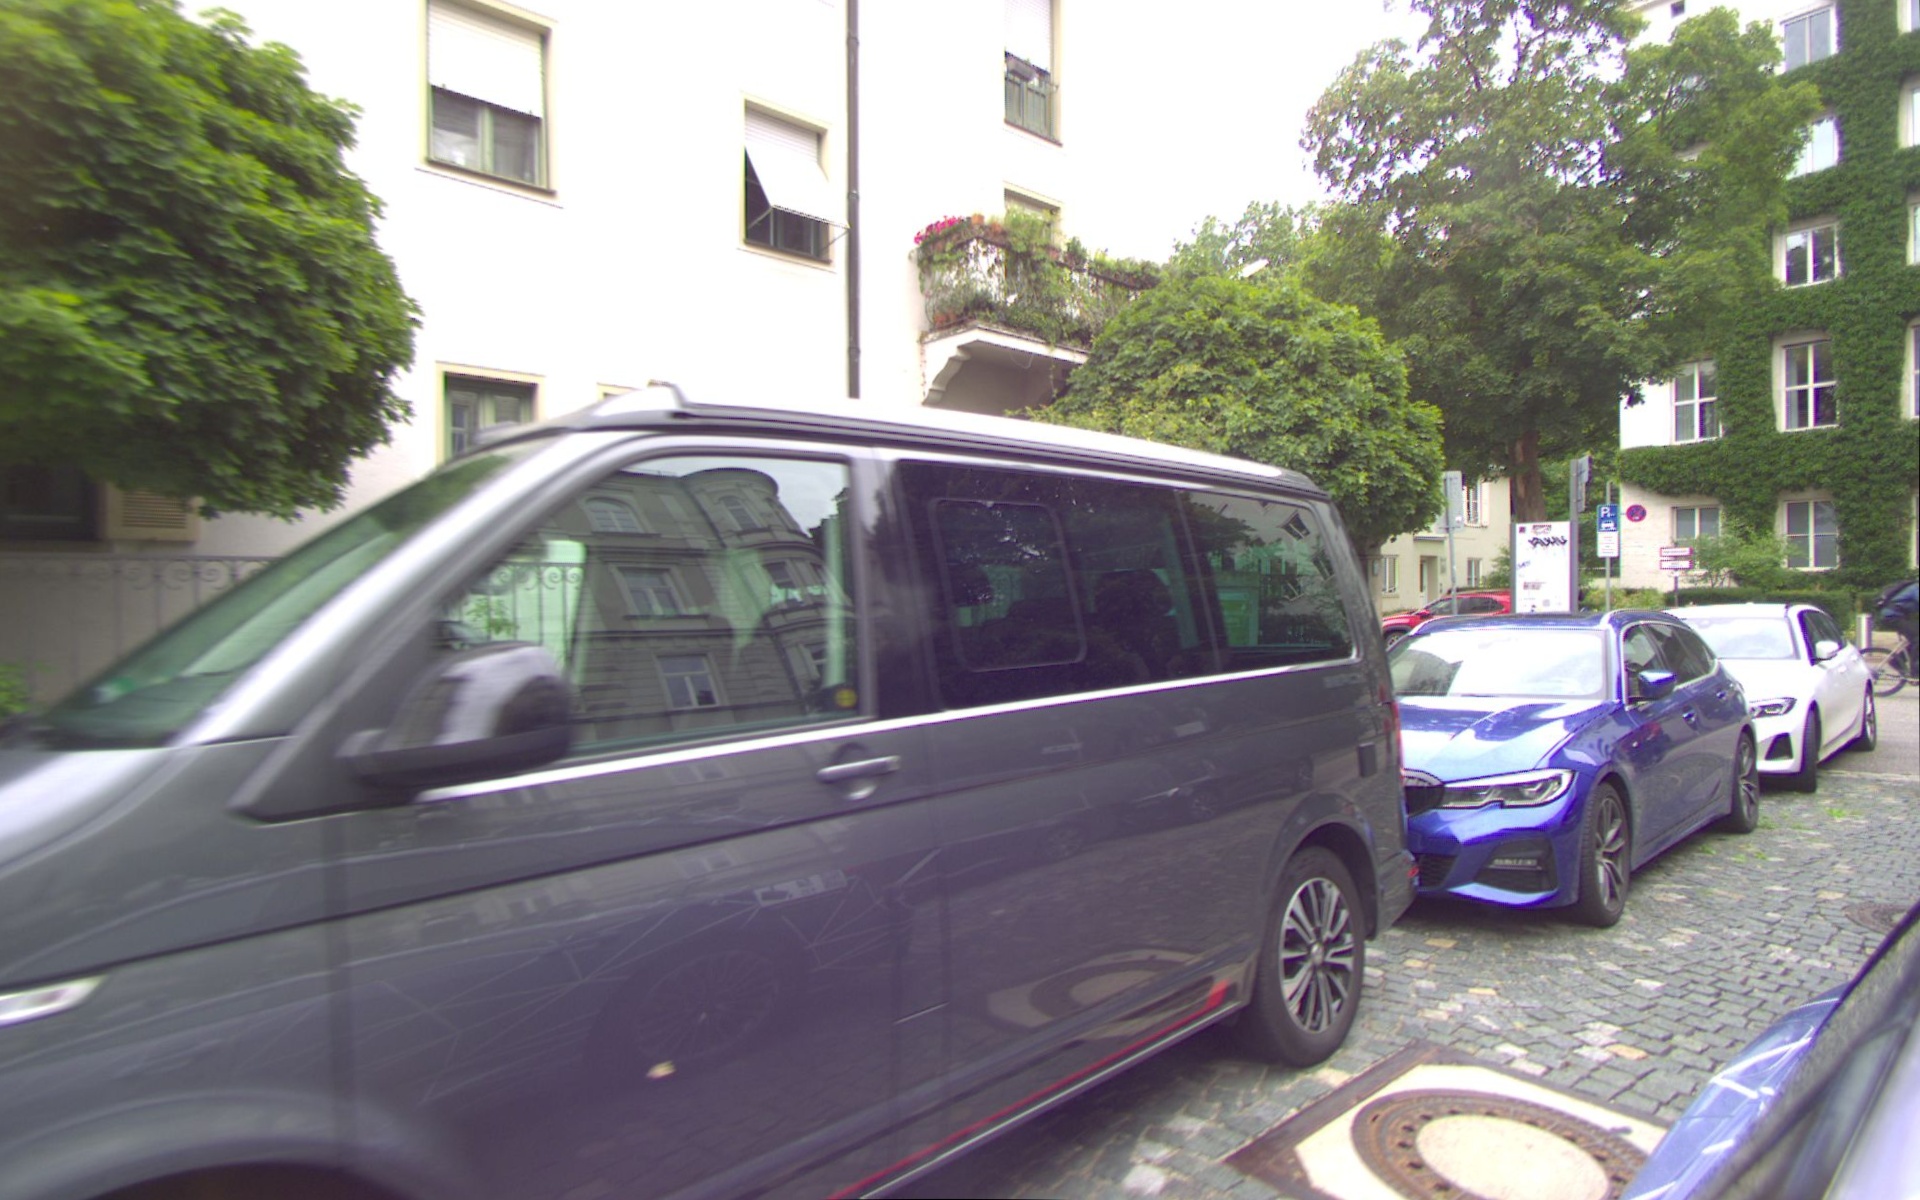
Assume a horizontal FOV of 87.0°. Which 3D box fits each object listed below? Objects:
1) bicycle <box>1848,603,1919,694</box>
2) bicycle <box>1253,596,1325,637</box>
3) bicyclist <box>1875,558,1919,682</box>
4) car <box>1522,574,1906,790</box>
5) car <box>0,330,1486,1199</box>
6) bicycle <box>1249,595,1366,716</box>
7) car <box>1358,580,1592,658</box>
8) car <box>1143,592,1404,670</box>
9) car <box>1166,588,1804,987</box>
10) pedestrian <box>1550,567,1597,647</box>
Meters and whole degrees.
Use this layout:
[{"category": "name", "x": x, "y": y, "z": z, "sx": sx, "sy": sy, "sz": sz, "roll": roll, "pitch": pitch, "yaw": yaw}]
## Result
[{"category": "bicycle", "x": 13.481, "y": 0.657, "z": 13.931, "sx": 0.708, "sy": 1.221, "sz": 1.798, "roll": -2, "pitch": 1, "yaw": -41}, {"category": "bicycle", "x": 9.638, "y": 0.465, "z": 29.739, "sx": 0.639, "sy": 1.145, "sz": 2.048, "roll": 0, "pitch": 0, "yaw": -34}, {"category": "bicyclist", "x": 13.431, "y": 0.261, "z": 14.004, "sx": 0.767, "sy": 1.688, "sz": 1.033, "roll": -2, "pitch": 0, "yaw": -41}, {"category": "car", "x": 7.308, "y": 0.619, "z": 9.593, "sx": 4.836, "sy": 1.551, "sz": 1.909, "roll": 0, "pitch": -2, "yaw": -41}, {"category": "car", "x": -0.465, "y": 0.546, "z": 3.004, "sx": 4.766, "sy": 1.712, "sz": 2.025, "roll": 0, "pitch": 0, "yaw": -41}, {"category": "bicycle", "x": 4.125, "y": 0.606, "z": 11.934, "sx": 1.888, "sy": 1.292, "sz": 0.466, "roll": -1, "pitch": 0, "yaw": -44}, {"category": "car", "x": 11.934, "y": 0.368, "z": 23.686, "sx": 1.861, "sy": 1.610, "sz": 4.521, "roll": -2, "pitch": 2, "yaw": -41}, {"category": "car", "x": 6.045, "y": 0.563, "z": 19.959, "sx": 1.971, "sy": 1.336, "sz": 4.588, "roll": 3, "pitch": -1, "yaw": -41}, {"category": "car", "x": 3.535, "y": 0.727, "z": 6.284, "sx": 4.792, "sy": 1.526, "sz": 1.932, "roll": -1, "pitch": 0, "yaw": -42}, {"category": "pedestrian", "x": 14.733, "y": 0.147, "z": 24.316, "sx": 0.702, "sy": 1.875, "sz": 0.796, "roll": -2, "pitch": 2, "yaw": -40}]
